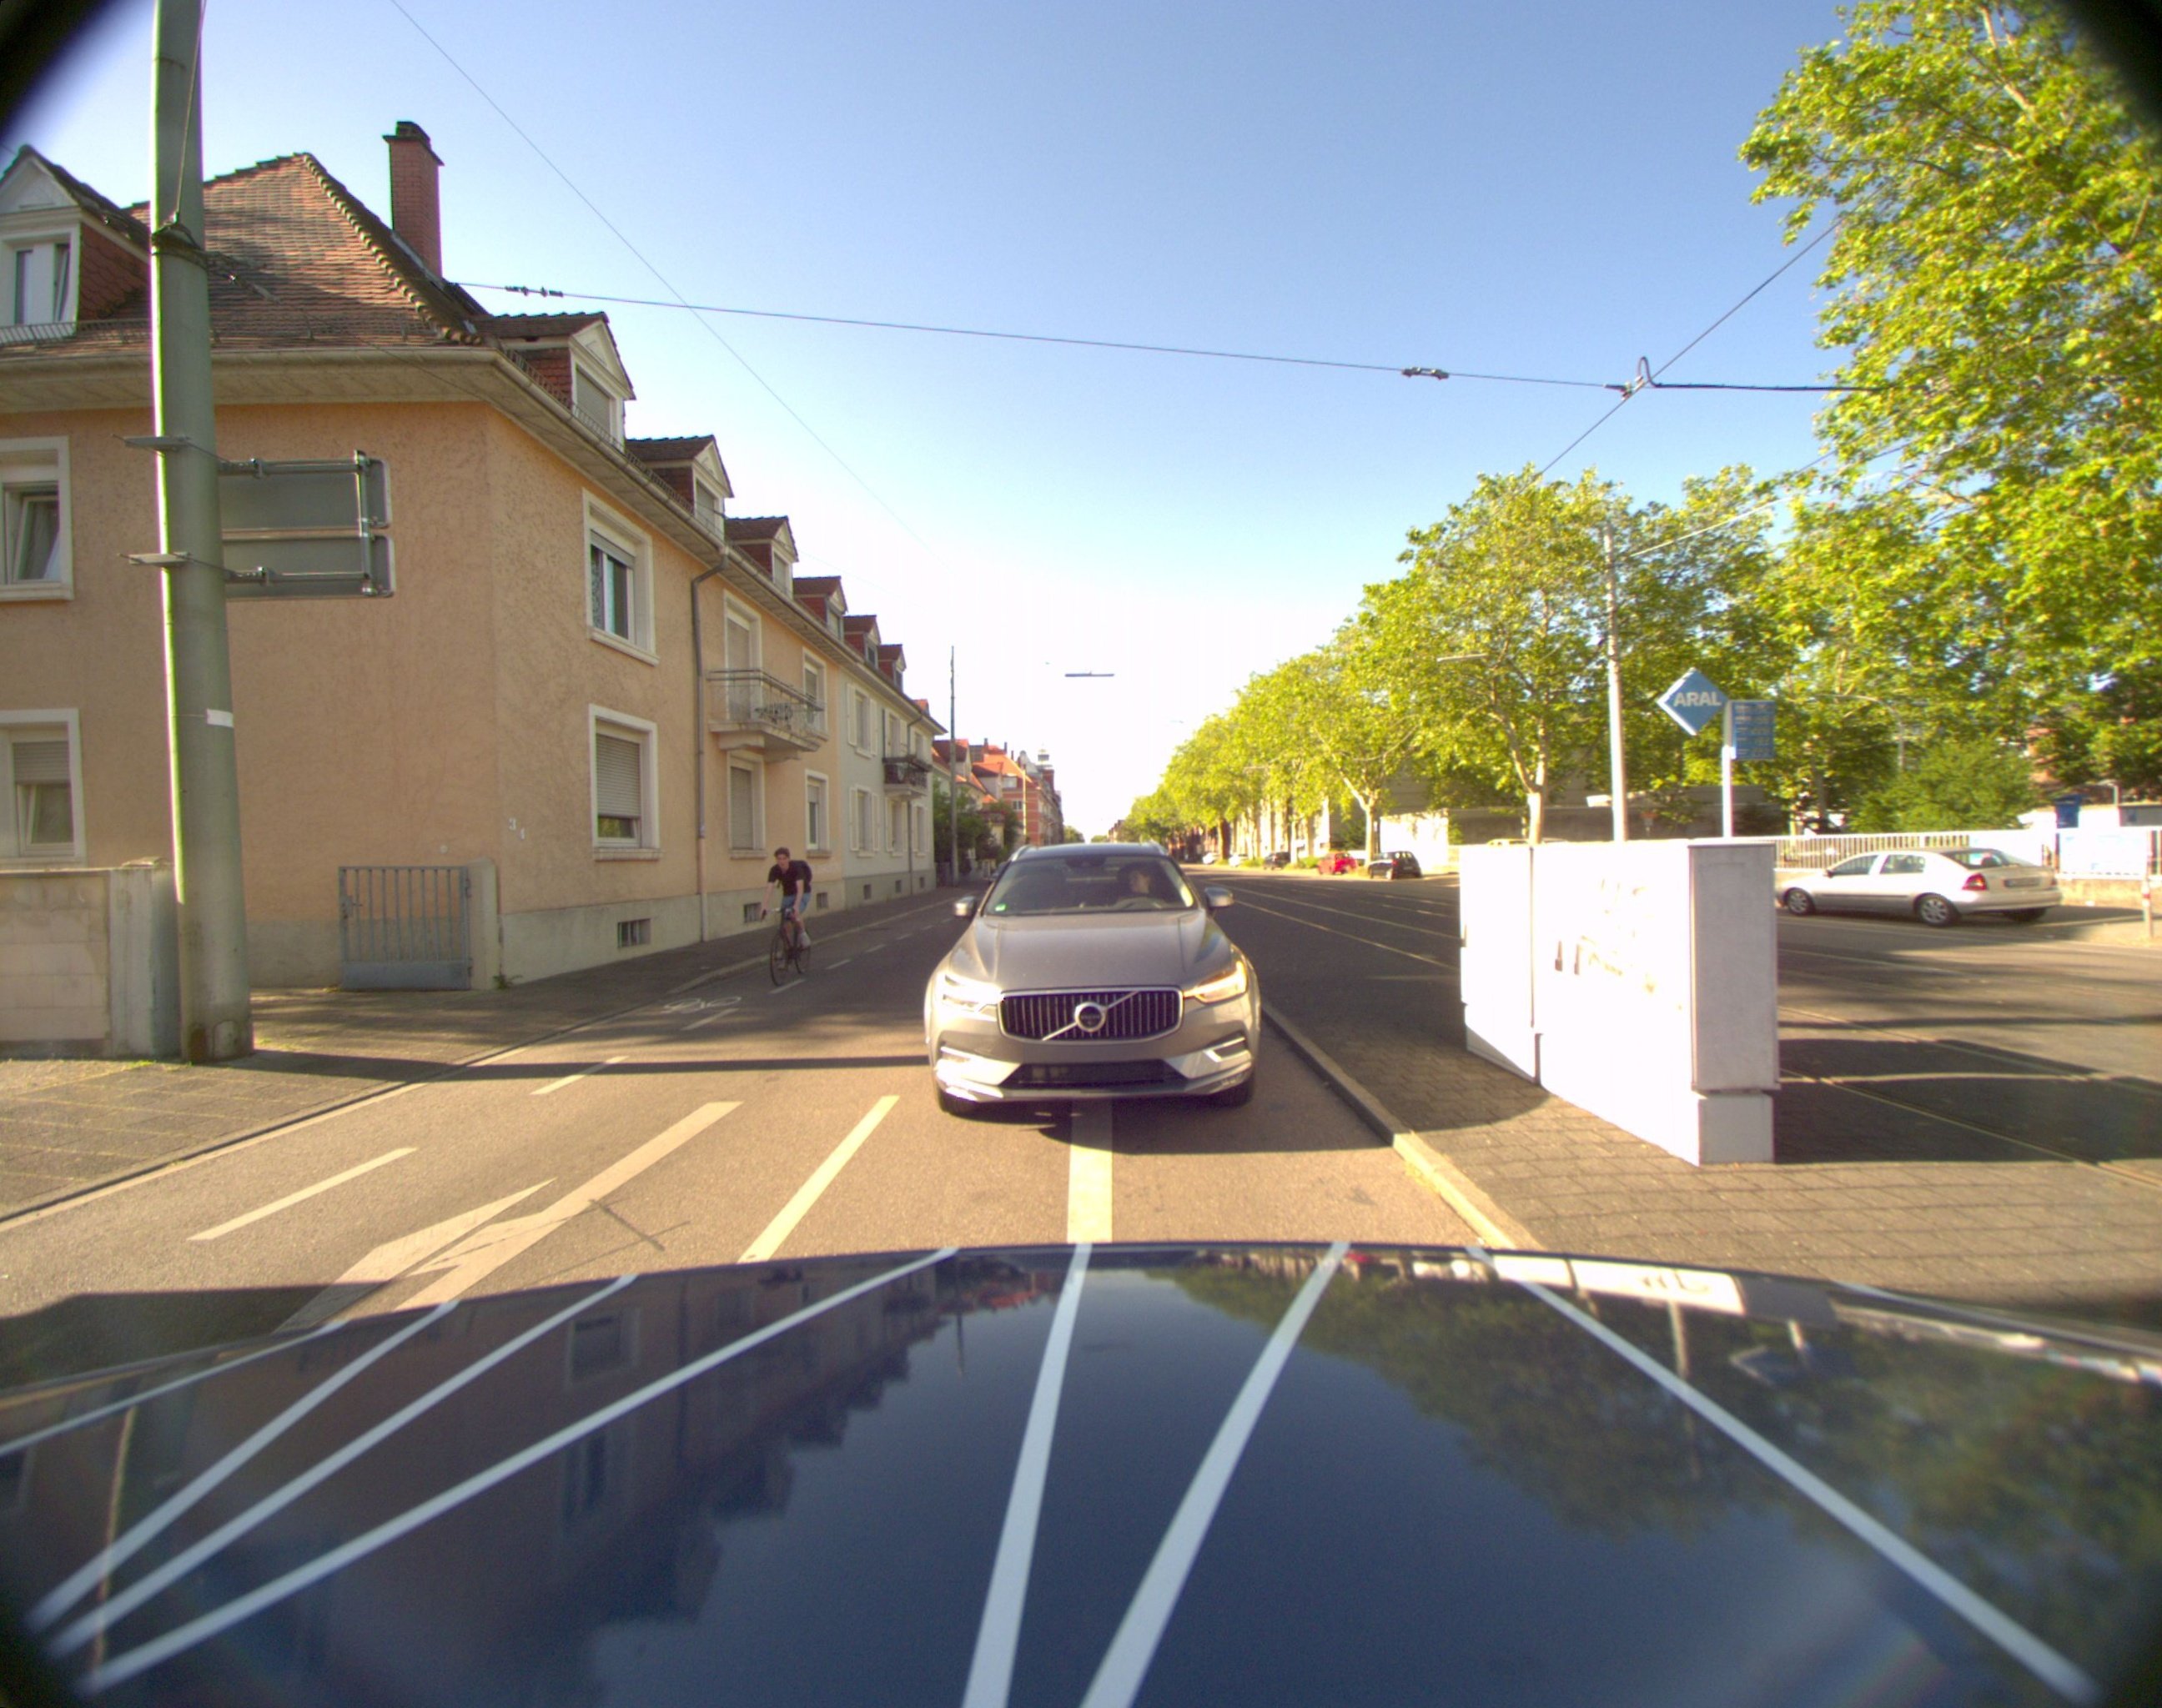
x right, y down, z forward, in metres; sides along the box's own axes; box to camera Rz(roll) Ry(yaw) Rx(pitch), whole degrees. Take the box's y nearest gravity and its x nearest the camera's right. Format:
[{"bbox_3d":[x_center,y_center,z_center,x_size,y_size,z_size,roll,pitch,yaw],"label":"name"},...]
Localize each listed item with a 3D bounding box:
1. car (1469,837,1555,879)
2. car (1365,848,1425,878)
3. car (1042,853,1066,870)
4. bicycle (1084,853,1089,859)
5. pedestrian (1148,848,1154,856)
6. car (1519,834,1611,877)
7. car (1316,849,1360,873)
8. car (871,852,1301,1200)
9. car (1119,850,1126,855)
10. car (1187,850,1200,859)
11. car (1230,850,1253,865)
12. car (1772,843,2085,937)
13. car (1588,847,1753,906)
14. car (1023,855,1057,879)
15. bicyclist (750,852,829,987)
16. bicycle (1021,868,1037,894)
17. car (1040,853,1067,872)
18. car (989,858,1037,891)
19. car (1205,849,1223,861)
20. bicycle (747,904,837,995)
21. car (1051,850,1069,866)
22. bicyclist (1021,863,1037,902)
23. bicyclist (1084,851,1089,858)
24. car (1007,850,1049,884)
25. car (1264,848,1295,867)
[{"bbox_3d":[21.813,0.170,38.650,1.999,2.002,3.999,-1,0,-1],"label":"car"},{"bbox_3d":[16.893,0.459,41.052,1.758,1.449,3.858,-3,0,3],"label":"car"},{"bbox_3d":[-2.351,0.614,66.372,1.867,1.399,4.078,-1,0,1],"label":"car"},{"bbox_3d":[1.125,0.328,161.735,1.054,1.262,3.914,-1,0,1],"label":"bicycle"},{"bbox_3d":[19.602,-0.549,213.146,1.686,2.002,1.761,-1,1,1],"label":"pedestrian"},{"bbox_3d":[24.161,0.082,38.109,1.999,2.002,3.999,-1,0,-1],"label":"car"},{"bbox_3d":[16.906,0.451,50.194,1.717,1.421,3.858,-3,0,3],"label":"car"},{"bbox_3d":[0.056,0.812,5.941,1.998,1.609,4.697,-1,0,1],"label":"car"},{"bbox_3d":[13.500,-0.568,249.327,1.998,1.685,4.000,-1,0,1],"label":"car"},{"bbox_3d":[18.512,0.056,125.303,1.758,1.475,3.858,-3,0,3],"label":"car"},{"bbox_3d":[17.581,0.355,83.353,1.758,1.475,3.858,-3,0,3],"label":"car"},{"bbox_3d":[16.239,0.609,14.917,1.847,1.477,3.858,-4,0,2],"label":"car"},{"bbox_3d":[16.479,0.570,21.524,1.745,1.389,3.858,-4,0,3],"label":"car"},{"bbox_3d":[-2.576,0.808,48.508,1.867,1.399,4.078,-1,0,1],"label":"car"},{"bbox_3d":[-3.952,0.845,10.378,0.561,1.721,1.084,-2,1,1],"label":"bicyclist"},{"bbox_3d":[-2.236,1.145,32.726,0.550,1.056,1.794,-1,1,-1],"label":"bicycle"},{"bbox_3d":[-2.130,0.661,60.067,1.867,1.399,4.078,-1,0,1],"label":"car"},{"bbox_3d":[-3.235,0.958,37.086,1.867,1.399,4.424,-1,0,1],"label":"car"},{"bbox_3d":[17.675,0.162,100.946,1.758,1.475,3.858,-3,0,3],"label":"car"},{"bbox_3d":[-3.935,1.268,10.487,0.533,1.011,1.758,-1,0,1],"label":"bicycle"},{"bbox_3d":[-2.321,0.425,85.461,1.867,1.653,4.078,-1,0,1],"label":"car"},{"bbox_3d":[-2.227,1.204,32.734,0.562,1.607,1.016,-2,1,0],"label":"bicyclist"},{"bbox_3d":[1.121,0.046,161.816,1.054,1.496,1.250,-1,1,1],"label":"bicyclist"},{"bbox_3d":[-2.912,0.696,42.841,1.867,1.778,5.297,-1,0,1],"label":"car"},{"bbox_3d":[17.175,0.293,65.925,1.758,1.536,3.858,-3,0,3],"label":"car"}]
